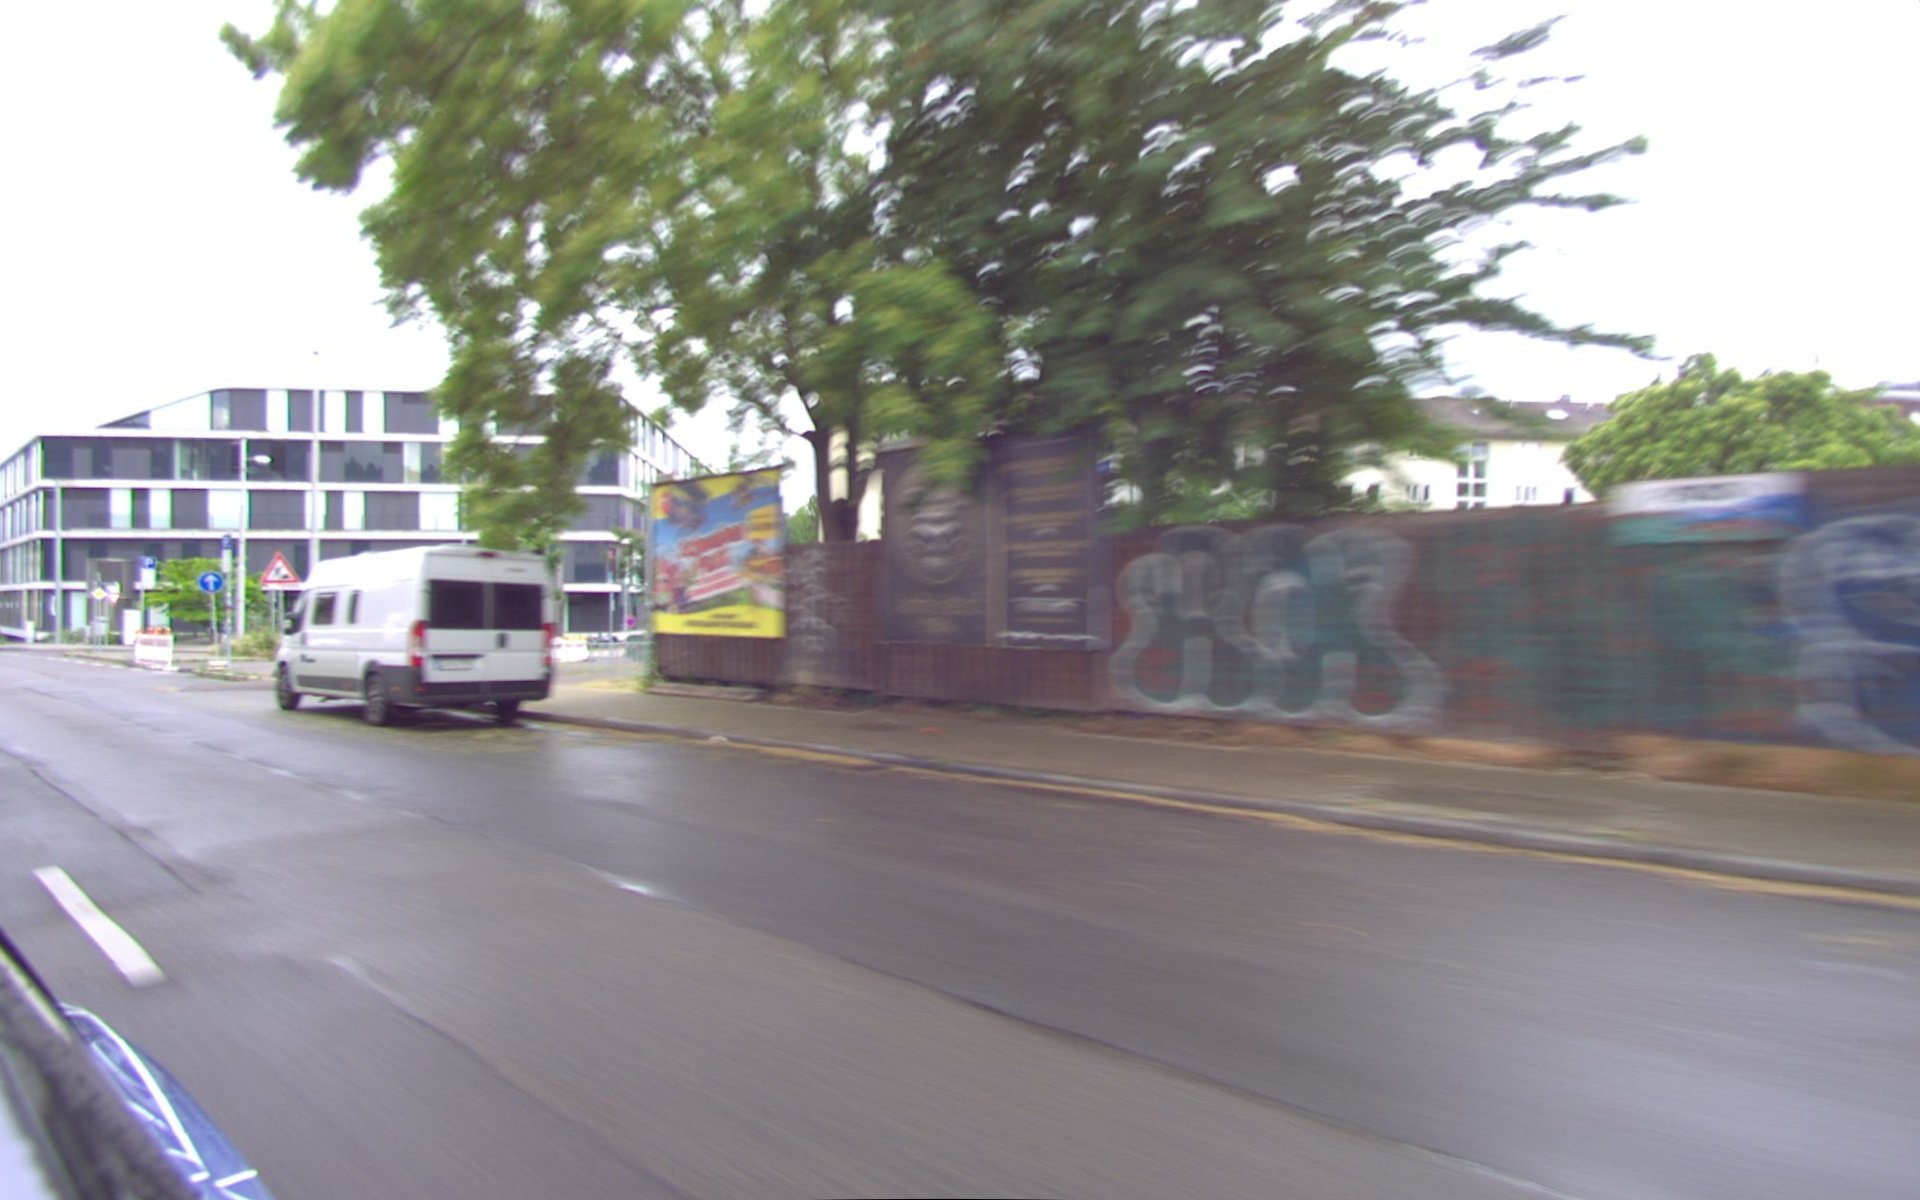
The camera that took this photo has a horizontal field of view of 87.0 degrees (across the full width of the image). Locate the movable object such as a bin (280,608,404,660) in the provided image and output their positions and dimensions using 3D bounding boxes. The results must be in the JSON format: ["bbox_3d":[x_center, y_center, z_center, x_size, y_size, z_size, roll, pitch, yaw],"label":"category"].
[{"bbox_3d":[-30.592,1.669,50.156,5.217,2.478,1.670,0,-1,2],"label":"movable object such as a bin"}]

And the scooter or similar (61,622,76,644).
[{"bbox_3d":[-52.621,1.921,59.732,1.231,1.258,0.491,-1,0,42],"label":"scooter or similar"}]

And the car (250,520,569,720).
[{"bbox_3d":[-8.950,0.369,16.101,6.532,2.599,2.207,-2,-3,40],"label":"car"}]
